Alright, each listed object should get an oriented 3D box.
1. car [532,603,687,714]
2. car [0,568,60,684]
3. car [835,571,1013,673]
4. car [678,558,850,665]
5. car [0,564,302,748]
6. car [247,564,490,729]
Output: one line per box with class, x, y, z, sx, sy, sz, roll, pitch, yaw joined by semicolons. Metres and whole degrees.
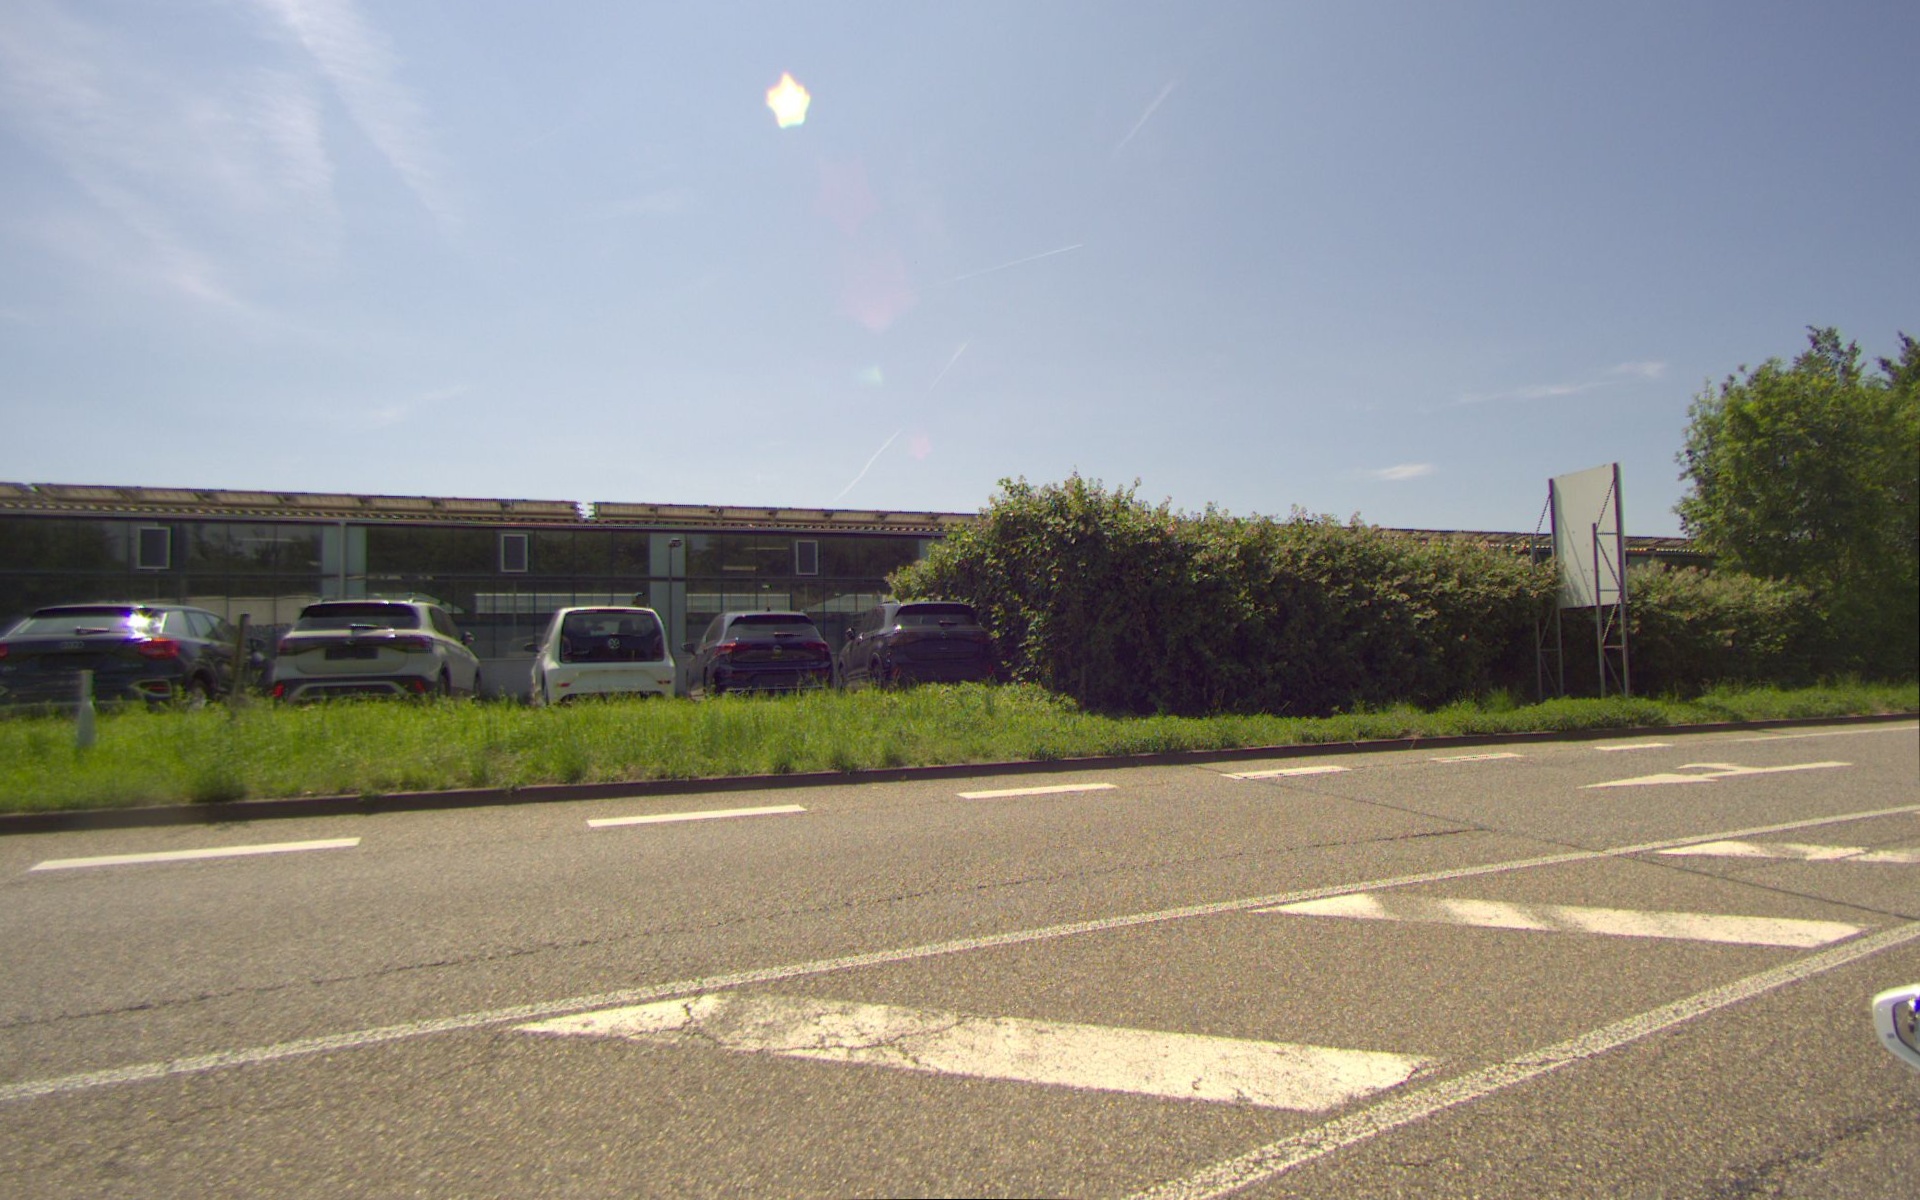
car;-5.047;0.820;14.274;1.807;1.334;3.980;1;-3;-22
car;-11.904;0.255;10.758;1.969;1.349;3.983;1;-3;-20
car;-0.693;0.305;15.743;1.776;1.391;3.692;2;0;-19
car;-3.066;0.269;15.094;1.794;1.380;3.980;1;-3;-22
car;-9.413;0.649;11.736;1.969;1.772;3.983;1;-3;-20
car;-7.415;0.621;13.057;1.969;1.772;3.983;1;-3;-20
